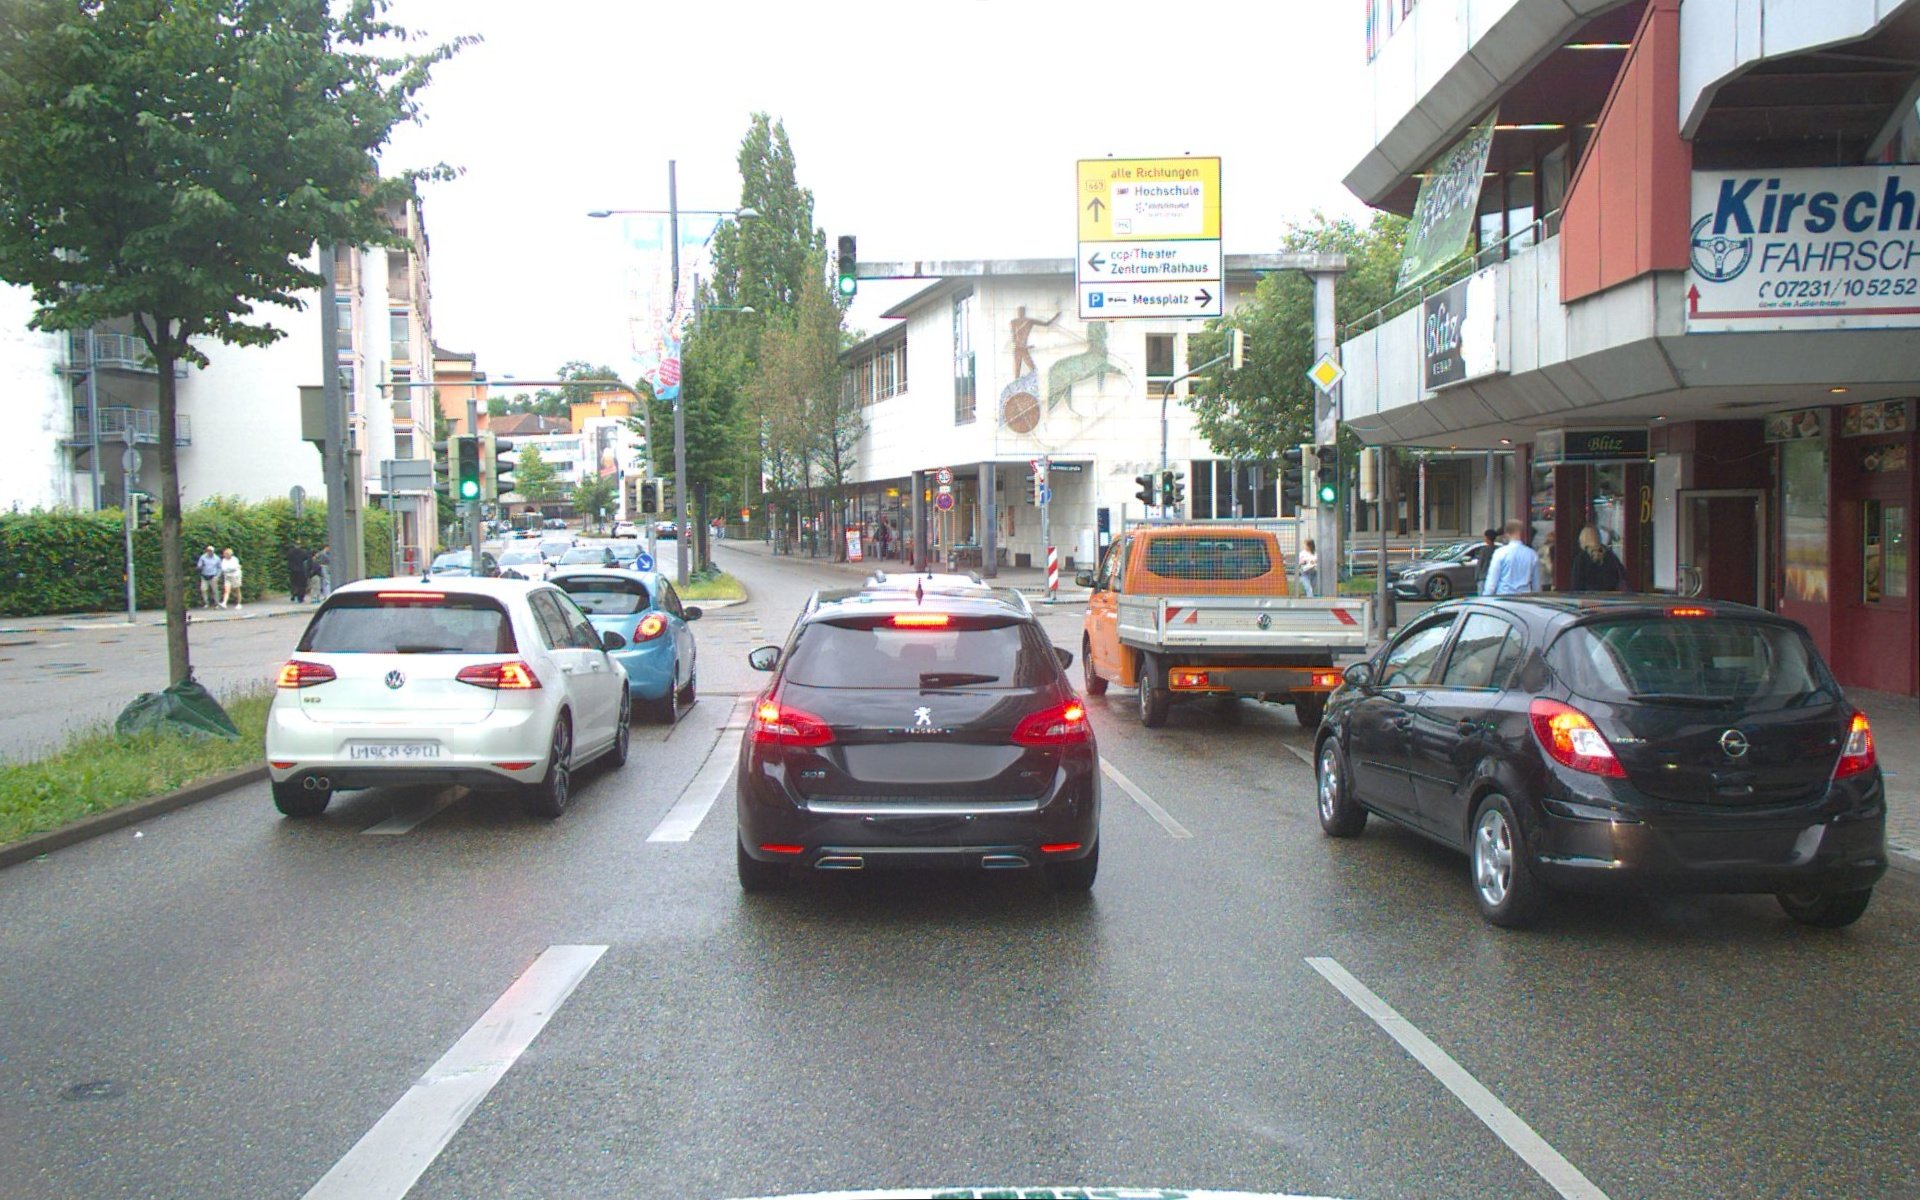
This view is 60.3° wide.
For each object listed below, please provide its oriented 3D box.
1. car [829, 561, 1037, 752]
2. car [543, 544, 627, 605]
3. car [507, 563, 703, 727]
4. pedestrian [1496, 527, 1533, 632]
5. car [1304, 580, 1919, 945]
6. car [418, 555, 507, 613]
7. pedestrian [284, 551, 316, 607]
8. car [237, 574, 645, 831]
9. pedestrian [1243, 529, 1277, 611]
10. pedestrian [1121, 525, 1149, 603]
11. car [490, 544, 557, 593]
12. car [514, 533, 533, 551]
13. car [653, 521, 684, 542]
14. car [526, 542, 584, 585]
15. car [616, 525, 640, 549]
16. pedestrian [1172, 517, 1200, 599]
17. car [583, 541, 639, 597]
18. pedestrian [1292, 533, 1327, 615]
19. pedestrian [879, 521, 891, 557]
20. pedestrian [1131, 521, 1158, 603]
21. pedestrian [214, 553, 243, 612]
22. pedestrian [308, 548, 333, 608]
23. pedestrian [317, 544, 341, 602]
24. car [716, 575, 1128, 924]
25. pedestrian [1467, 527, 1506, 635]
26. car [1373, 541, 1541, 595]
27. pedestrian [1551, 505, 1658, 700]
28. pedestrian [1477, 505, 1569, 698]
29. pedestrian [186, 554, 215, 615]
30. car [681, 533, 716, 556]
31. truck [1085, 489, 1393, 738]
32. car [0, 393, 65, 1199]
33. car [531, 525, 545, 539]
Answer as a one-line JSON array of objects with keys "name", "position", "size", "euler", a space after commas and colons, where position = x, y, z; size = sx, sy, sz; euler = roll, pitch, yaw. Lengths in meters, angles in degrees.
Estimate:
[{"name": "car", "position": [-0.251, 0.419, 15.280], "size": [1.662, 1.512, 3.793], "euler": [1, 2, -1]}, {"name": "car", "position": [-10.634, -0.692, 47.150], "size": [1.710, 1.607, 3.996], "euler": [1, -1, -4]}, {"name": "car", "position": [-3.630, 0.390, 17.437], "size": [1.601, 1.512, 3.606], "euler": [1, 2, -6]}, {"name": "pedestrian", "position": [8.945, -0.321, 26.697], "size": [0.388, 1.668, 0.504], "euler": [-1, -1, 0]}, {"name": "car", "position": [3.114, 0.646, 8.681], "size": [1.584, 1.454, 3.839], "euler": [1, 1, -4]}, {"name": "car", "position": [-13.591, -0.476, 45.329], "size": [1.543, 1.512, 3.607], "euler": [1, 2, -4]}, {"name": "pedestrian", "position": [-19.993, -0.626, 50.111], "size": [0.624, 1.671, 0.734], "euler": [1, -1, 2]}, {"name": "car", "position": [-3.336, 0.560, 11.397], "size": [1.742, 1.454, 3.840], "euler": [1, 1, -3]}, {"name": "pedestrian", "position": [6.269, -0.610, 34.600], "size": [0.623, 1.688, 0.734], "euler": [1, -1, 6]}, {"name": "pedestrian", "position": [4.032, -0.824, 38.184], "size": [0.623, 1.788, 0.734], "euler": [1, -1, 6]}, {"name": "car", "position": [-14.167, -1.043, 53.883], "size": [1.602, 1.512, 3.605], "euler": [1, 2, -7]}, {"name": "car", "position": [-54.794, -7.235, 207.695], "size": [1.964, 2.049, 3.976], "euler": [1, -1, -20]}, {"name": "car", "position": [-24.898, -5.844, 141.095], "size": [1.701, 1.516, 4.701], "euler": [1, -1, -22]}, {"name": "car", "position": [-14.860, -1.339, 60.827], "size": [1.602, 1.512, 3.605], "euler": [1, 2, -7]}, {"name": "car", "position": [-29.226, -5.536, 145.609], "size": [1.679, 1.915, 3.980], "euler": [1, -1, -18]}, {"name": "pedestrian", "position": [5.399, -1.005, 39.540], "size": [0.623, 1.930, 0.734], "euler": [1, -1, 6]}, {"name": "car", "position": [-11.478, -0.985, 54.535], "size": [1.713, 1.669, 3.989], "euler": [1, -1, -11]}, {"name": "pedestrian", "position": [7.297, -0.537, 34.524], "size": [0.623, 1.688, 0.734], "euler": [1, -1, 6]}, {"name": "pedestrian", "position": [-3.766, -3.056, 82.758], "size": [0.461, 1.778, 0.537], "euler": [1, -1, -21]}, {"name": "pedestrian", "position": [4.416, -0.912, 39.652], "size": [0.623, 1.930, 0.734], "euler": [1, -1, 6]}, {"name": "pedestrian", "position": [-20.194, -0.475, 45.643], "size": [0.569, 1.627, 0.526], "euler": [1, -1, -7]}, {"name": "pedestrian", "position": [-19.212, -0.659, 49.704], "size": [0.529, 1.778, 0.746], "euler": [1, -1, -9]}, {"name": "pedestrian", "position": [-19.614, -0.848, 51.428], "size": [0.528, 1.778, 0.564], "euler": [1, -1, -6]}, {"name": "car", "position": [-0.138, 0.610, 8.972], "size": [1.741, 1.454, 3.843], "euler": [1, 1, 1]}, {"name": "pedestrian", "position": [8.396, -0.298, 26.396], "size": [0.417, 1.712, 0.450], "euler": [-1, -1, -2]}, {"name": "car", "position": [12.105, -0.775, 40.449], "size": [3.610, 1.233, 1.836], "euler": [1, -1, 3]}, {"name": "pedestrian", "position": [6.756, 0.028, 17.367], "size": [0.721, 1.968, 0.640], "euler": [-4, -1, -1]}, {"name": "pedestrian", "position": [5.855, 0.017, 17.230], "size": [0.721, 1.968, 0.640], "euler": [1, -1, -1]}, {"name": "pedestrian", "position": [-20.770, -0.418, 45.229], "size": [0.569, 1.627, 0.526], "euler": [1, -1, -7]}, {"name": "car", "position": [-18.546, -3.950, 117.154], "size": [1.759, 1.479, 4.486], "euler": [-3, 3, -17]}, {"name": "truck", "position": [2.705, 0.059, 17.382], "size": [2.133, 2.210, 5.018], "euler": [1, 2, -3]}, {"name": "car", "position": [-3.023, 0.445, 1.399], "size": [1.873, 1.903, 5.071], "euler": [1, -1, -2]}, {"name": "car", "position": [-61.998, -10.033, 243.073], "size": [1.679, 1.817, 3.980], "euler": [1, -1, -18]}]
